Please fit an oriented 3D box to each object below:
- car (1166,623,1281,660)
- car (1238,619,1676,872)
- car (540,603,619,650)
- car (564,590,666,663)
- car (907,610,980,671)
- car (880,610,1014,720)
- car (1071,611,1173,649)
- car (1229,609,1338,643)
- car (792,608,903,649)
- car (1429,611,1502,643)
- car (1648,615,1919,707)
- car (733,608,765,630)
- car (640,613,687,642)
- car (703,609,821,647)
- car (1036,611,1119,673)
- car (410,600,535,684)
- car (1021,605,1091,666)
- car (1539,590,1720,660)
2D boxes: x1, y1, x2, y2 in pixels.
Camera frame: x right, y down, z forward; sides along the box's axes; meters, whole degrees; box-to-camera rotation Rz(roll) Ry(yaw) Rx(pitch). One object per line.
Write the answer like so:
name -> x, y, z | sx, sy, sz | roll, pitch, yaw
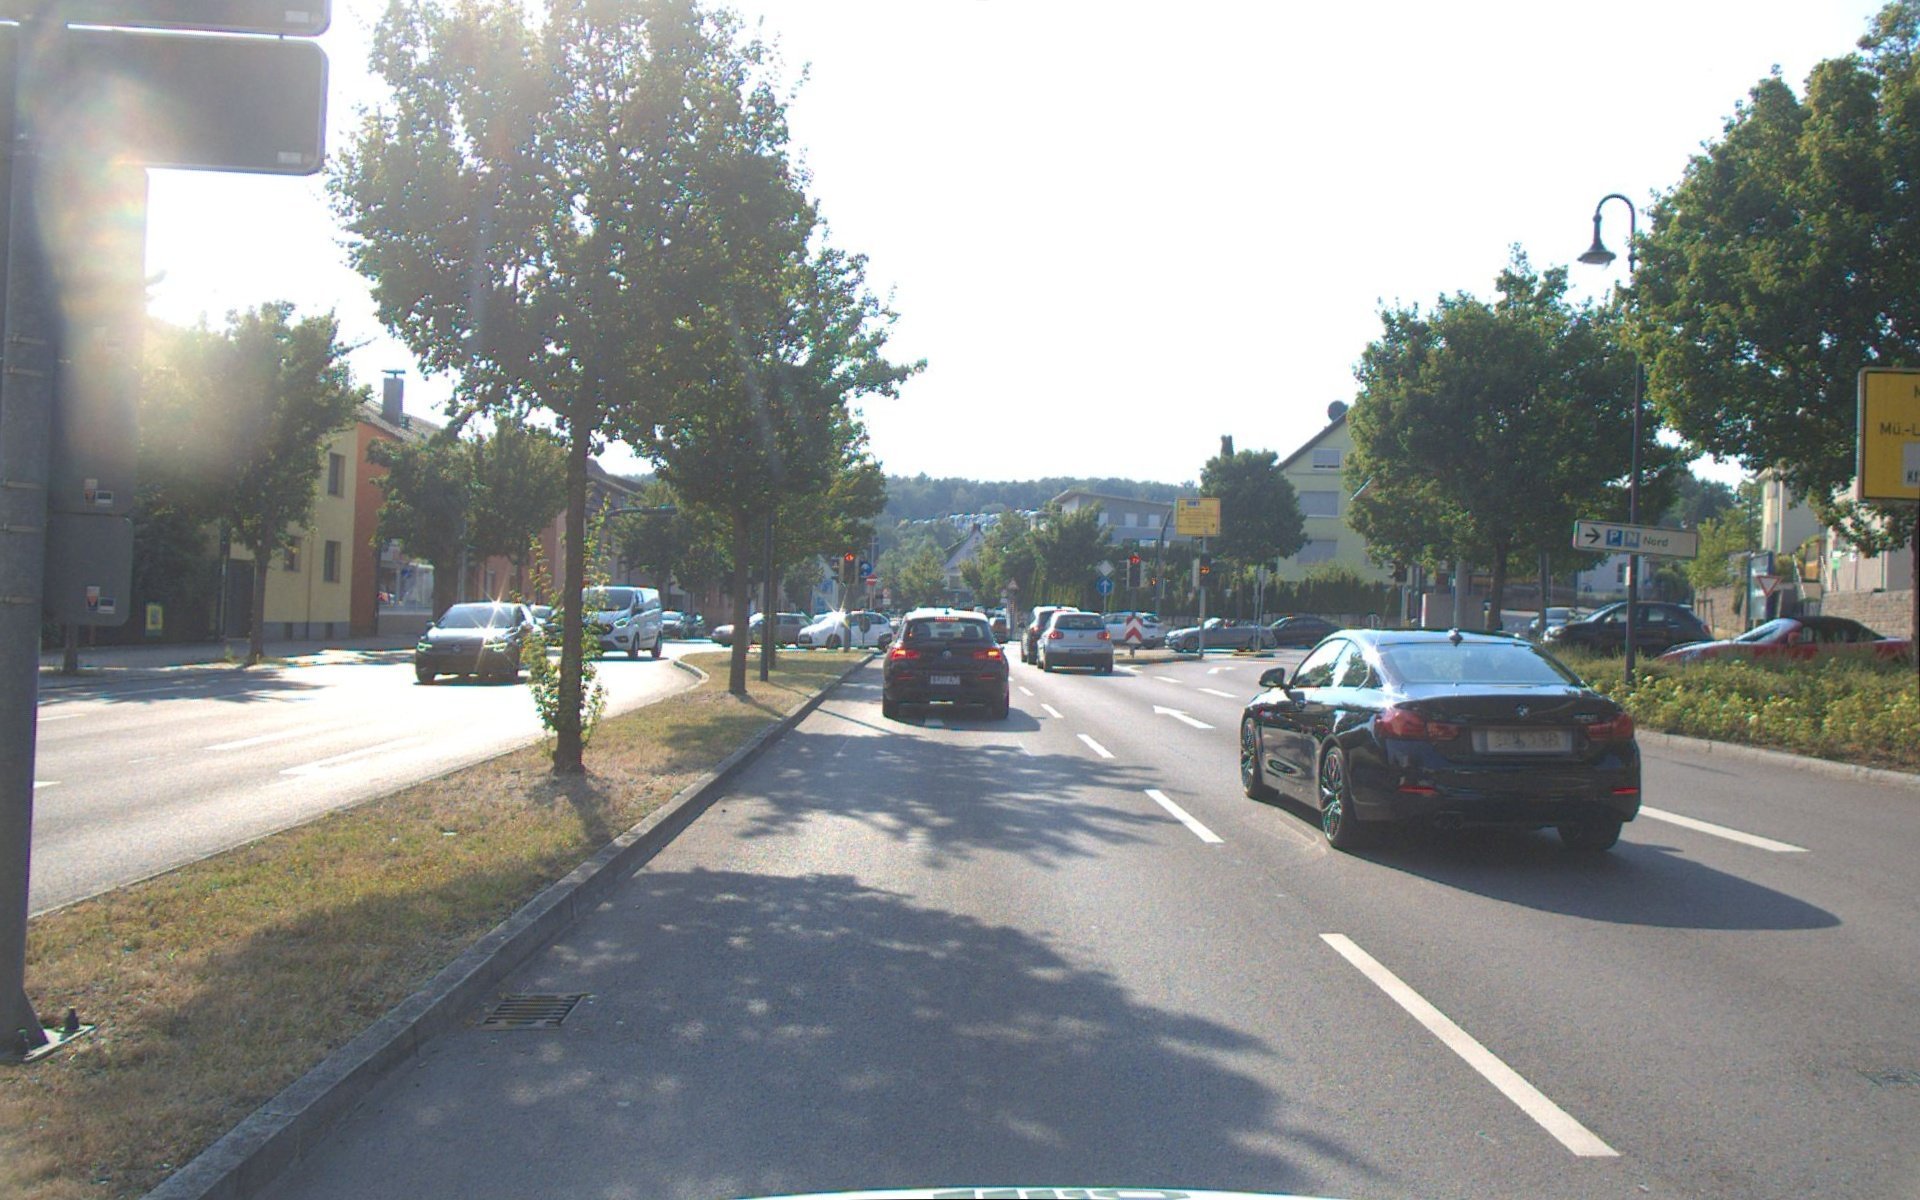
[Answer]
car -> 10.969, 1.735, 69.039 | 4.384, 1.372, 1.782 | 1, 3, -11
car -> 3.224, 0.863, 11.688 | 1.779, 1.413, 4.346 | 1, 0, 0
car -> -12.919, 0.887, 56.389 | 1.770, 1.523, 4.244 | 1, 0, -1
car -> -9.701, 0.728, 46.890 | 1.785, 1.957, 4.944 | 1, 0, 0
car -> -0.403, 1.009, 42.802 | 1.779, 1.476, 4.241 | 1, 0, 0
car -> -0.169, 0.879, 24.044 | 1.754, 1.439, 4.346 | 1, 0, 0
car -> 7.682, 1.415, 78.533 | 4.426, 1.732, 1.892 | -1, -1, 31
car -> 14.610, 1.167, 74.861 | 4.536, 1.446, 1.848 | 1, -1, -3
car -> -4.301, 1.108, 63.533 | 3.914, 1.523, 1.783 | 1, -1, -38
car -> 24.649, 1.323, 80.499 | 1.832, 1.512, 4.636 | 0, -1, 39
car -> 12.821, 0.906, 25.342 | 3.902, 1.294, 1.855 | 1, -1, 11
car -> -15.931, 1.444, 125.062 | 1.884, 1.624, 4.000 | 1, 0, 0
car -> -16.999, 1.558, 94.978 | 1.884, 1.624, 4.000 | 1, 0, 0
car -> -8.262, 1.177, 69.115 | 4.652, 1.488, 1.673 | 1, -1, -33
car -> 2.946, 1.032, 42.072 | 1.779, 1.471, 4.346 | 1, 0, 0
car -> -9.233, 0.766, 31.604 | 1.736, 1.476, 4.099 | 1, 0, -9
car -> 2.784, 1.011, 48.626 | 1.779, 1.695, 4.346 | 1, 0, 0
car -> 16.723, 0.614, 41.485 | 3.902, 1.636, 1.855 | 1, -1, 11
